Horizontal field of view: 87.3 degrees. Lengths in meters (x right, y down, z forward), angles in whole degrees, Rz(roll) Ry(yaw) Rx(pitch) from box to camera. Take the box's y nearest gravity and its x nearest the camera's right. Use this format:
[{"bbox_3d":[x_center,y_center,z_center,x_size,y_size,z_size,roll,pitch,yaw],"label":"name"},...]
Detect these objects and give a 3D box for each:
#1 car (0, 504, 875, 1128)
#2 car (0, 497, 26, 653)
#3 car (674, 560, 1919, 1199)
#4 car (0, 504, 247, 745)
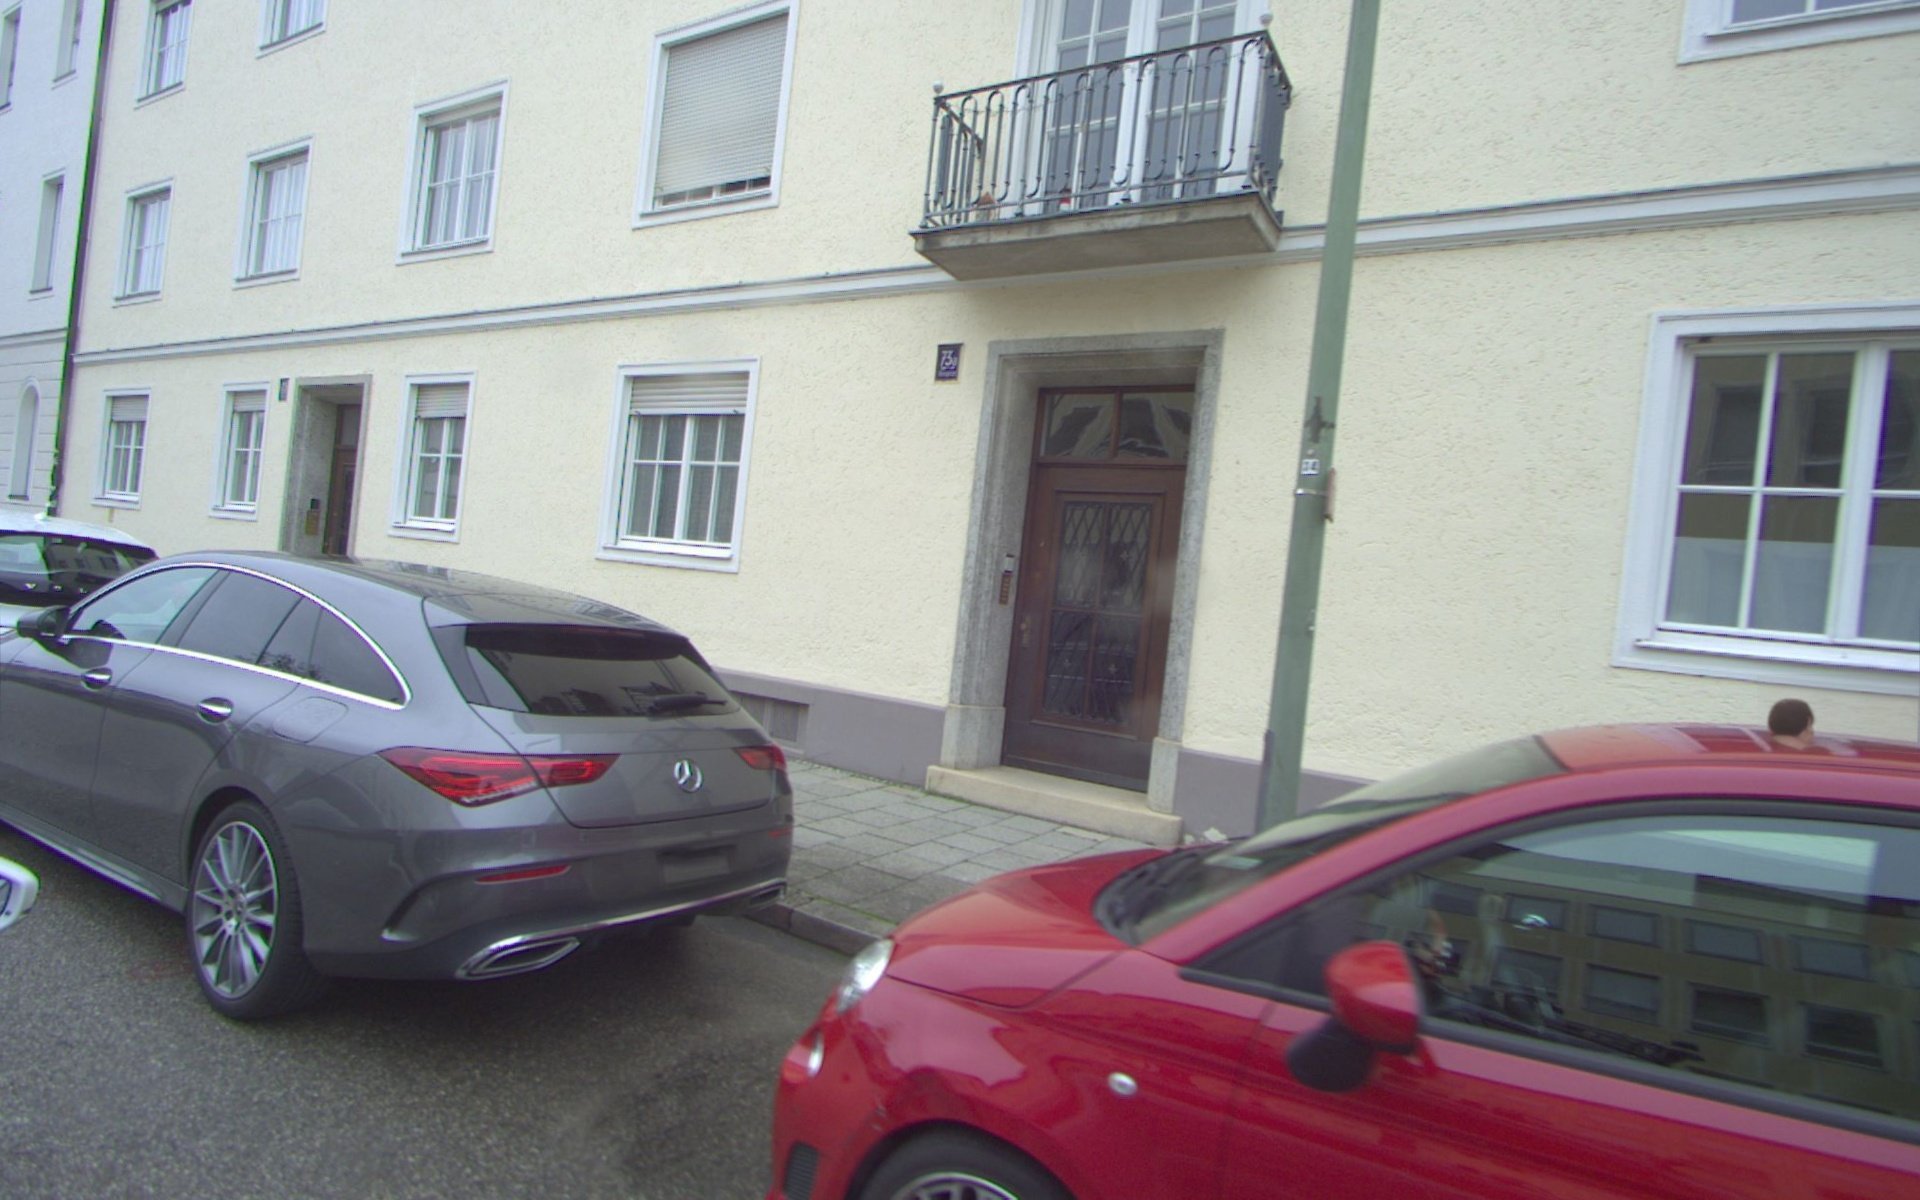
[{"bbox_3d":[-2.688,0.481,4.359,4.348,1.427,1.682,6,-1,31],"label":"car"},{"bbox_3d":[-11.352,-0.483,10.101,4.096,1.499,1.682,6,-1,30],"label":"car"},{"bbox_3d":[1.484,0.908,1.888,3.760,1.515,1.682,6,-1,31],"label":"car"},{"bbox_3d":[-7.345,-0.017,7.432,4.368,1.427,1.682,6,-1,31],"label":"car"}]
